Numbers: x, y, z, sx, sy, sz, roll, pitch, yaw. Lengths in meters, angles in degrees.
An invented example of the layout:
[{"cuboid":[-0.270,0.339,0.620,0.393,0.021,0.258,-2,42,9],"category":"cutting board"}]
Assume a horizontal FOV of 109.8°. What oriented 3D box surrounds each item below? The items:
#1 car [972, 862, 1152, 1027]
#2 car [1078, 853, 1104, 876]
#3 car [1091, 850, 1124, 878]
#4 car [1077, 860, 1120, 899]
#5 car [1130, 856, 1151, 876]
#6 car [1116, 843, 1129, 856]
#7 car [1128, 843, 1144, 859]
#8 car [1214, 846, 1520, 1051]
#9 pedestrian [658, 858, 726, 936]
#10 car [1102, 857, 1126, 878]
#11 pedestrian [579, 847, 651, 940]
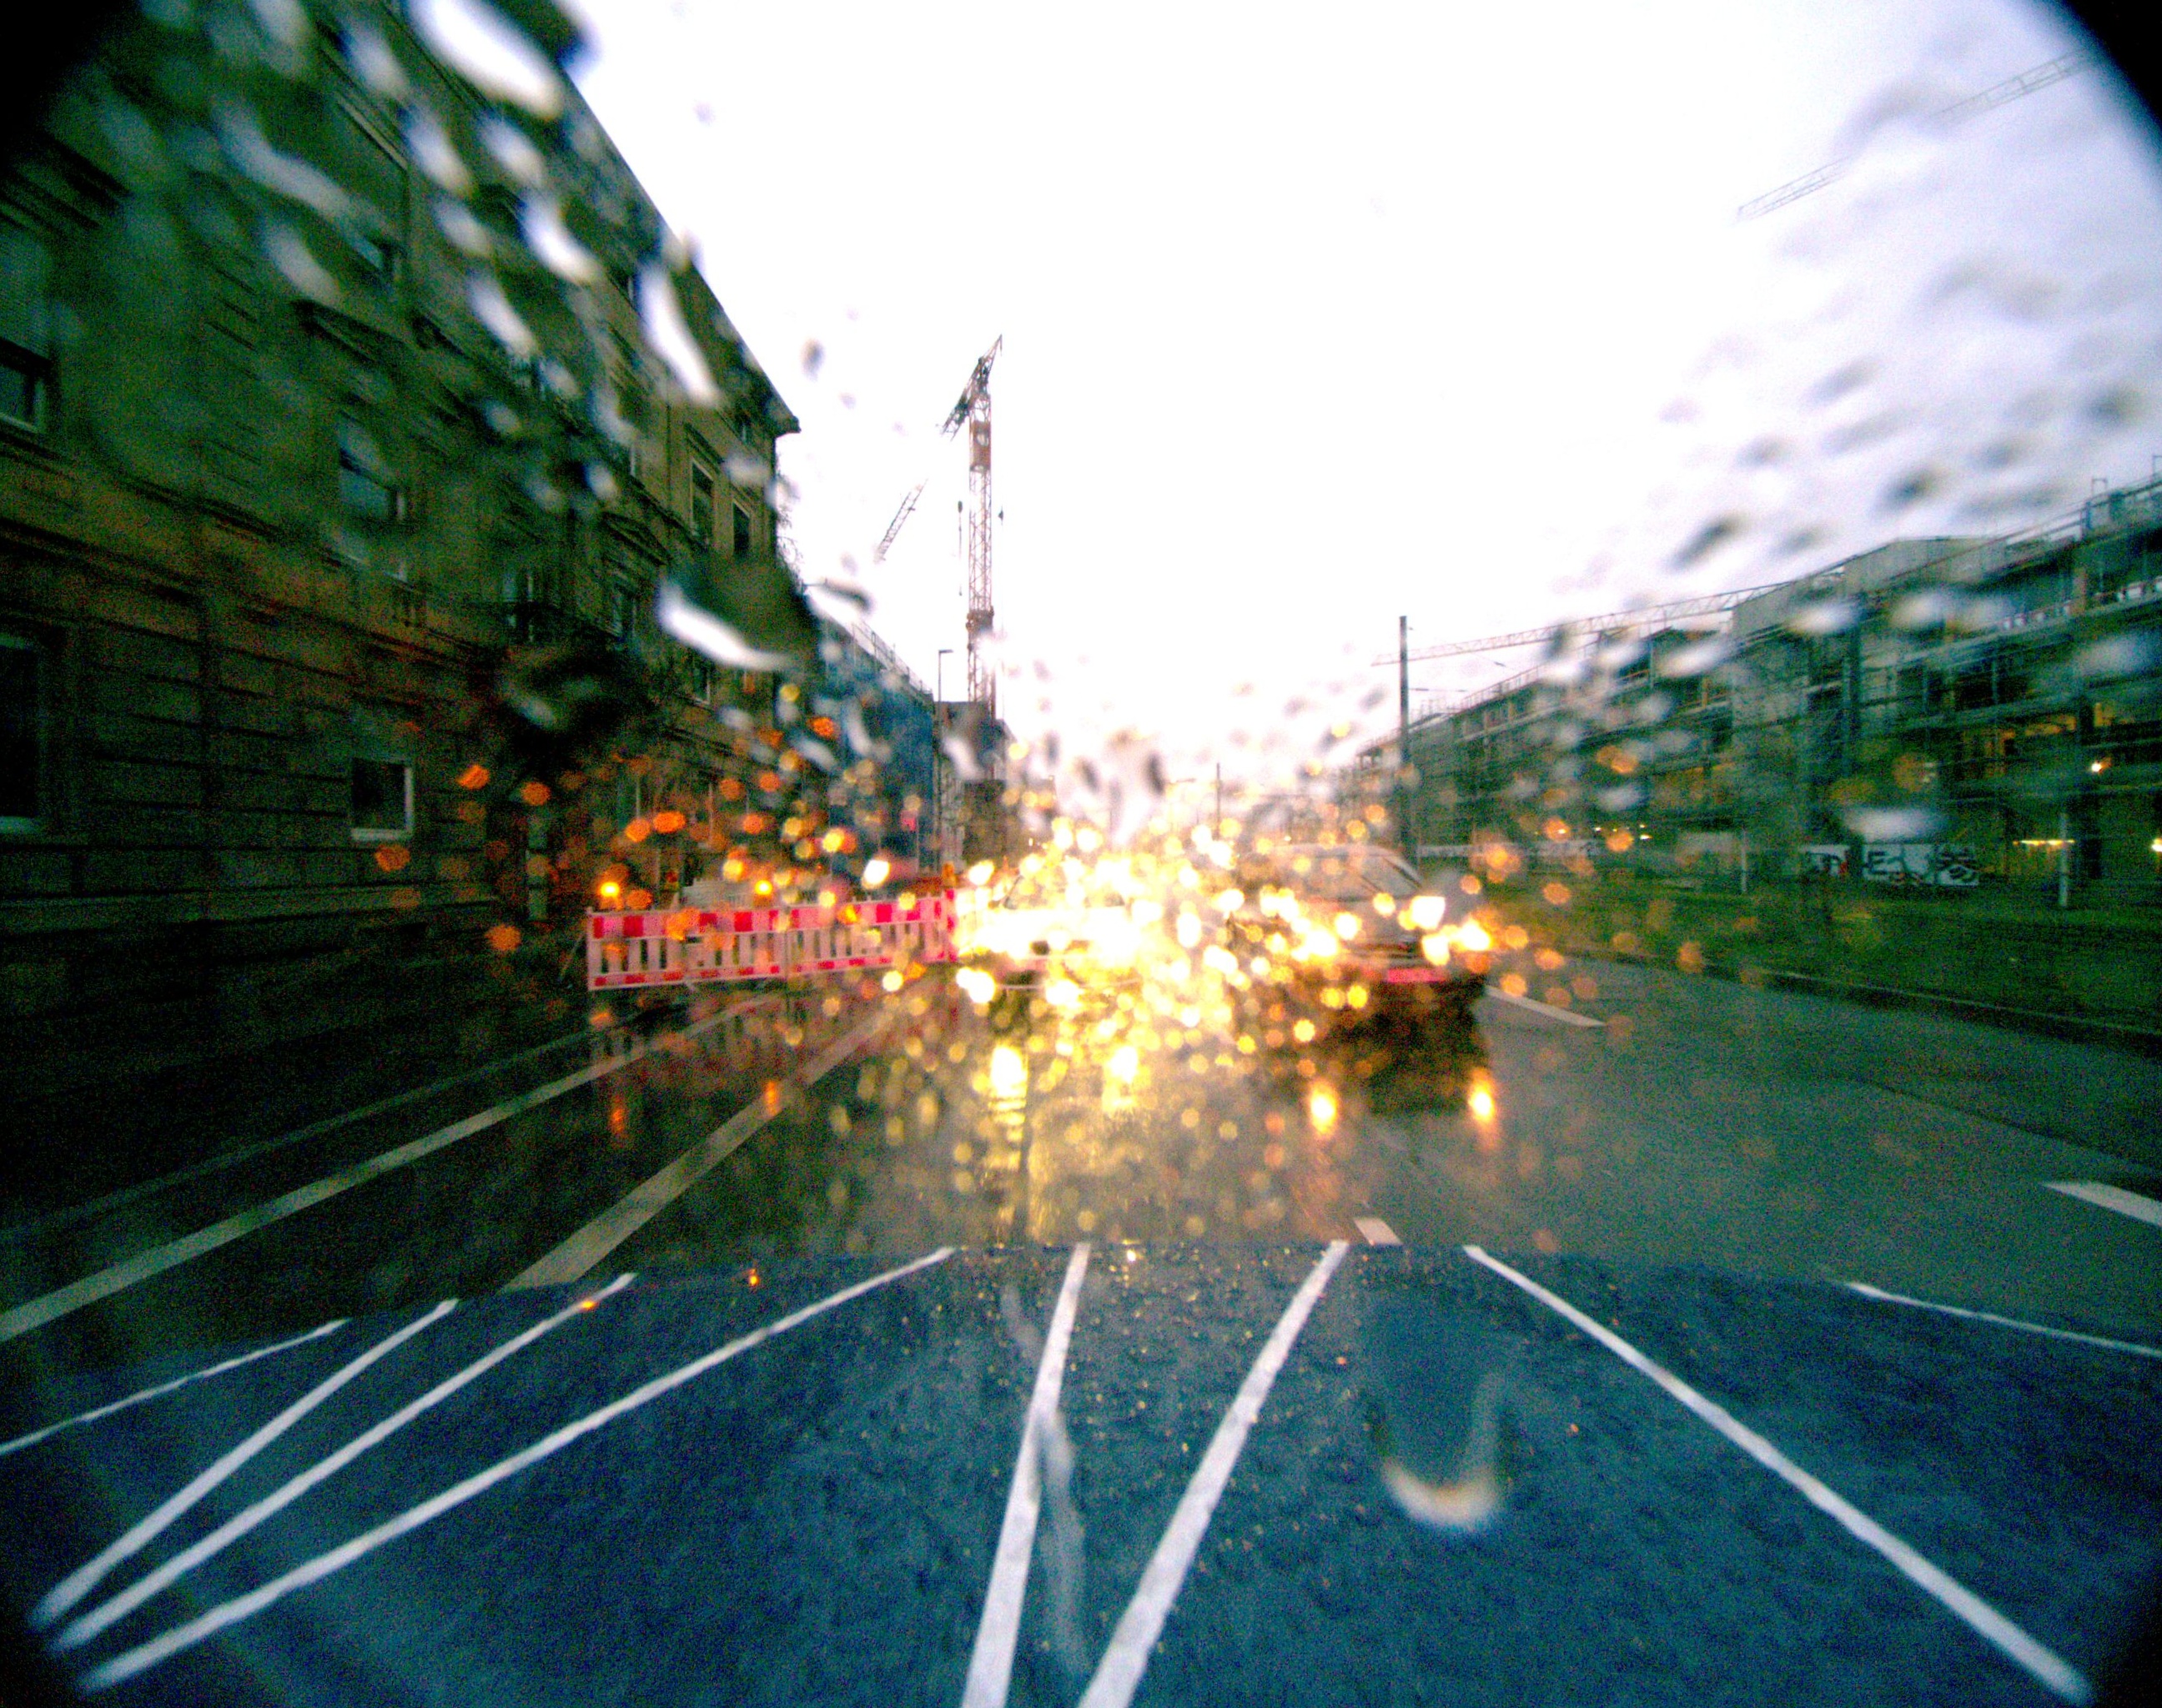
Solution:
[{"cuboid":[-0.200,0.940,9.648,1.769,1.504,3.899,-2,1,0],"category":"car"},{"cuboid":[0.678,0.714,53.871,1.769,1.504,3.899,-2,1,0],"category":"car"},{"cuboid":[1.530,0.574,45.689,1.769,1.504,3.899,-2,1,0],"category":"car"},{"cuboid":[0.718,1.086,33.967,1.769,1.504,3.899,-2,1,0],"category":"car"},{"cuboid":[5.281,1.035,68.034,1.768,1.614,3.900,-2,1,4],"category":"car"},{"cuboid":[5.765,-0.636,105.661,1.768,1.614,3.900,-2,1,4],"category":"car"},{"cuboid":[6.186,-0.363,85.966,1.768,1.614,3.900,-2,1,4],"category":"car"},{"cuboid":[2.691,0.776,8.258,1.815,1.636,4.135,-1,0,1],"category":"car"},{"cuboid":[-7.840,0.844,15.345,0.870,1.536,0.929,0,0,1],"category":"pedestrian"},{"cuboid":[2.736,1.090,63.338,1.769,1.504,3.899,-2,1,0],"category":"car"},{"cuboid":[-8.558,0.715,13.985,0.870,1.663,0.707,0,0,1],"category":"pedestrian"}]
